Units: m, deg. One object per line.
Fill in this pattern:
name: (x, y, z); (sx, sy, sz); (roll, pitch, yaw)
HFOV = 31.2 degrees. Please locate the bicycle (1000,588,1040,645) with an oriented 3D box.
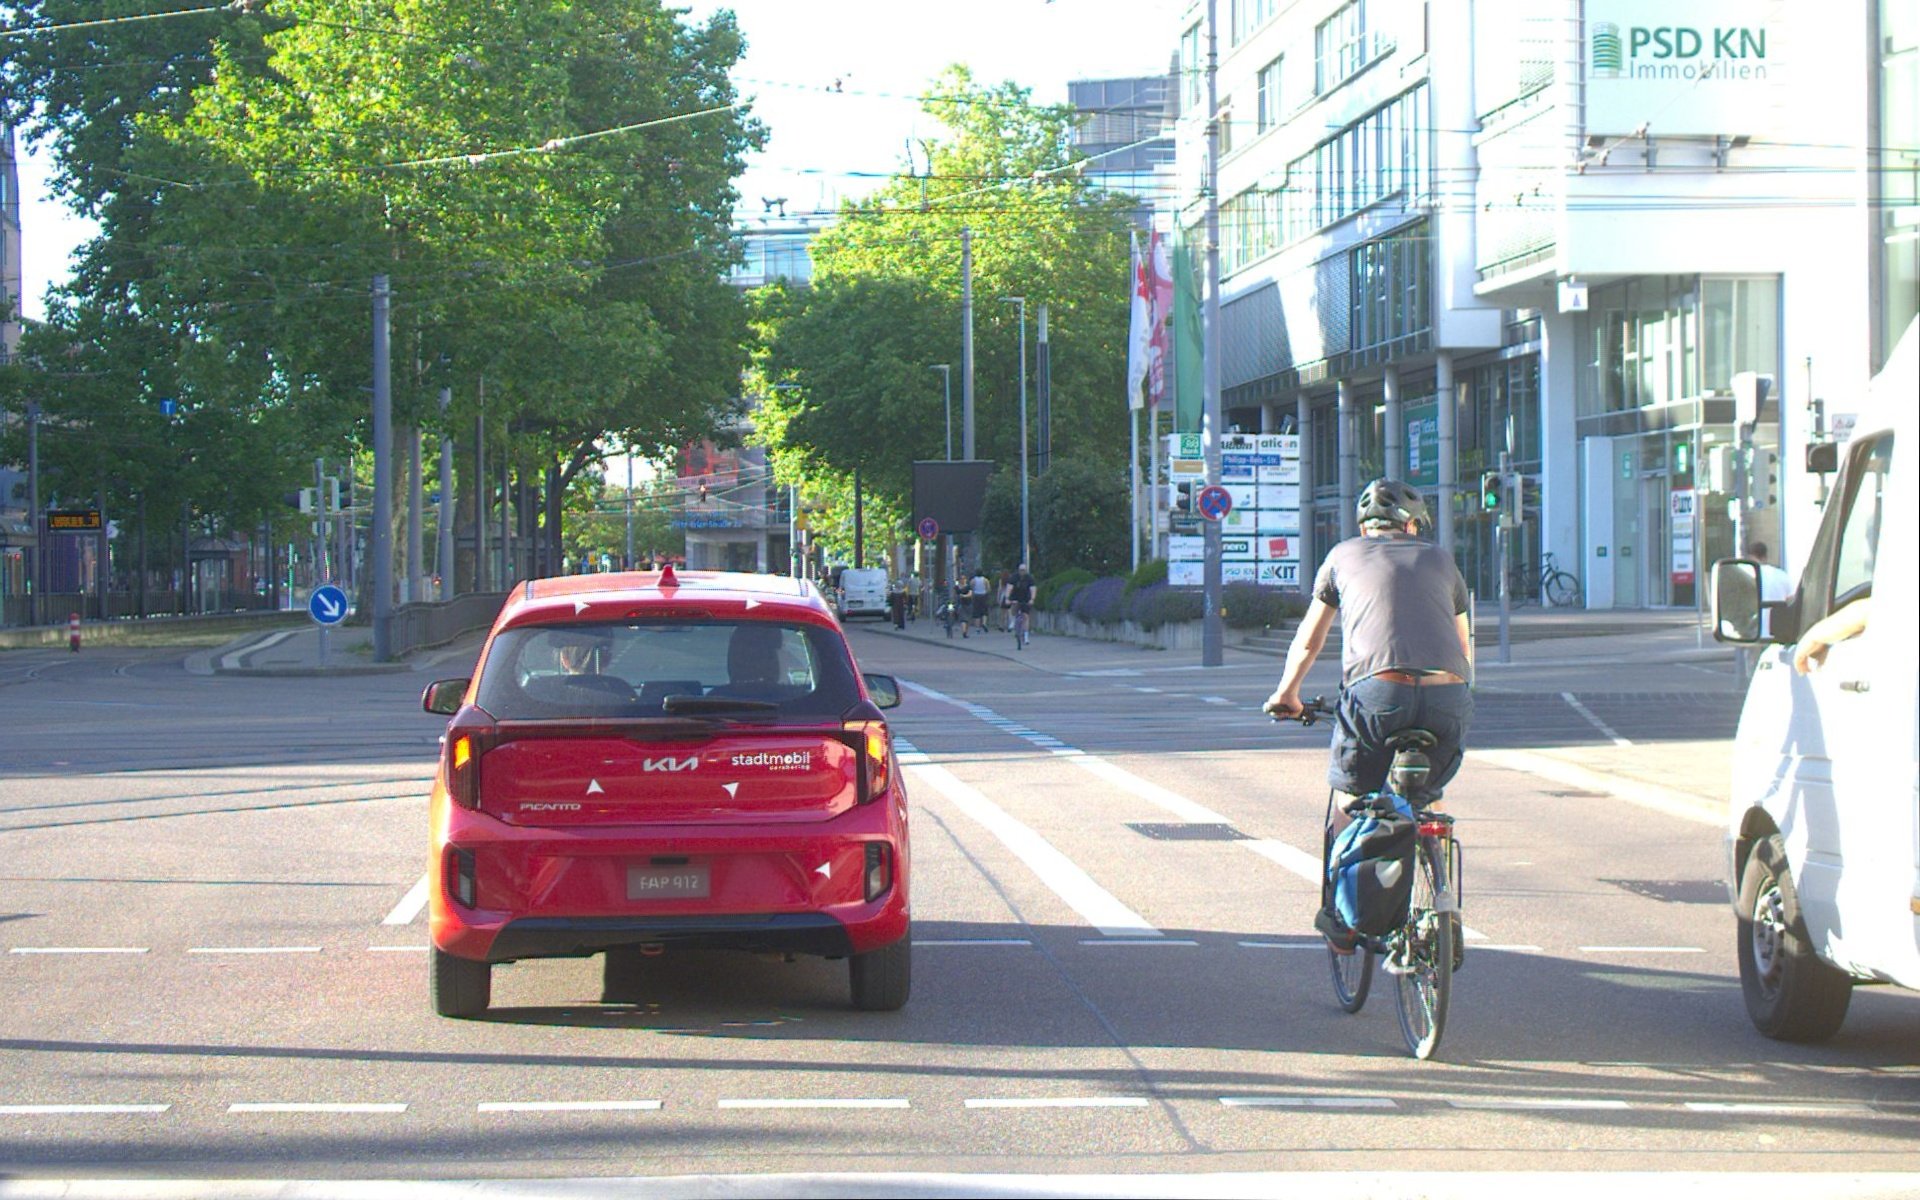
bicycle: (1.244, 0.332, 71.804); (0.696, 1.094, 1.751); (-4, 1, -1)

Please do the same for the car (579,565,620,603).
car: (-19.103, -0.866, 182.187); (1.993, 2.007, 4.001); (-1, 1, -8)

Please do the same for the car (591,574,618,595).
car: (-26.259, -1.152, 254.101); (1.777, 1.529, 3.412); (0, 1, -10)

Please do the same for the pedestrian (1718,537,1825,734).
pedestrian: (7.621, 0.321, 32.337); (0.777, 1.817, 1.215); (-1, 0, 4)

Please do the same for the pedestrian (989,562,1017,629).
pedestrian: (1.172, -0.136, 93.911); (0.540, 1.790, 0.907); (-4, 1, -7)

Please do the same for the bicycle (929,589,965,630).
bicycle: (-0.334, 0.235, 87.893); (0.520, 0.971, 2.202); (-4, 1, -9)

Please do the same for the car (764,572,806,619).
car: (-6.911, -0.190, 135.847); (1.635, 1.794, 3.330); (-1, 1, -3)

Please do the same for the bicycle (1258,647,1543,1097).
bicycle: (1.388, 0.818, 11.142); (0.650, 1.276, 1.966); (-1, 1, 0)

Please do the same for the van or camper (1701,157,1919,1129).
van or camper: (3.712, 0.134, 8.669); (1.968, 2.707, 6.306); (0, 1, -3)

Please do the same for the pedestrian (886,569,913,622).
pedestrian: (-1.850, -0.130, 105.742); (0.641, 1.574, 0.723); (-4, 1, -7)

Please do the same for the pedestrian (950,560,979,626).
pedestrian: (0.117, -0.172, 88.108); (0.646, 1.674, 0.651); (-1, 0, -6)

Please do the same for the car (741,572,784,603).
car: (-9.964, -0.618, 173.433); (1.777, 1.529, 3.513); (0, 1, -10)

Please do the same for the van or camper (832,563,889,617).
van or camper: (-3.786, -0.390, 130.405); (1.993, 1.982, 4.745); (0, 0, -4)

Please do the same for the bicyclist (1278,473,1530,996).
bicyclist: (1.413, 0.406, 11.083); (0.650, 1.597, 1.089); (-1, 0, 0)

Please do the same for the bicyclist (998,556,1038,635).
bicyclist: (1.213, -0.093, 71.723); (0.722, 1.597, 1.089); (-3, 1, -1)

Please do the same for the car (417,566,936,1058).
car: (-1.027, 0.647, 12.475); (1.613, 1.529, 3.412); (0, 1, -5)

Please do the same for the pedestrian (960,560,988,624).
pedestrian: (0.386, -0.230, 93.740); (0.564, 1.696, 0.907); (-4, 1, -7)
